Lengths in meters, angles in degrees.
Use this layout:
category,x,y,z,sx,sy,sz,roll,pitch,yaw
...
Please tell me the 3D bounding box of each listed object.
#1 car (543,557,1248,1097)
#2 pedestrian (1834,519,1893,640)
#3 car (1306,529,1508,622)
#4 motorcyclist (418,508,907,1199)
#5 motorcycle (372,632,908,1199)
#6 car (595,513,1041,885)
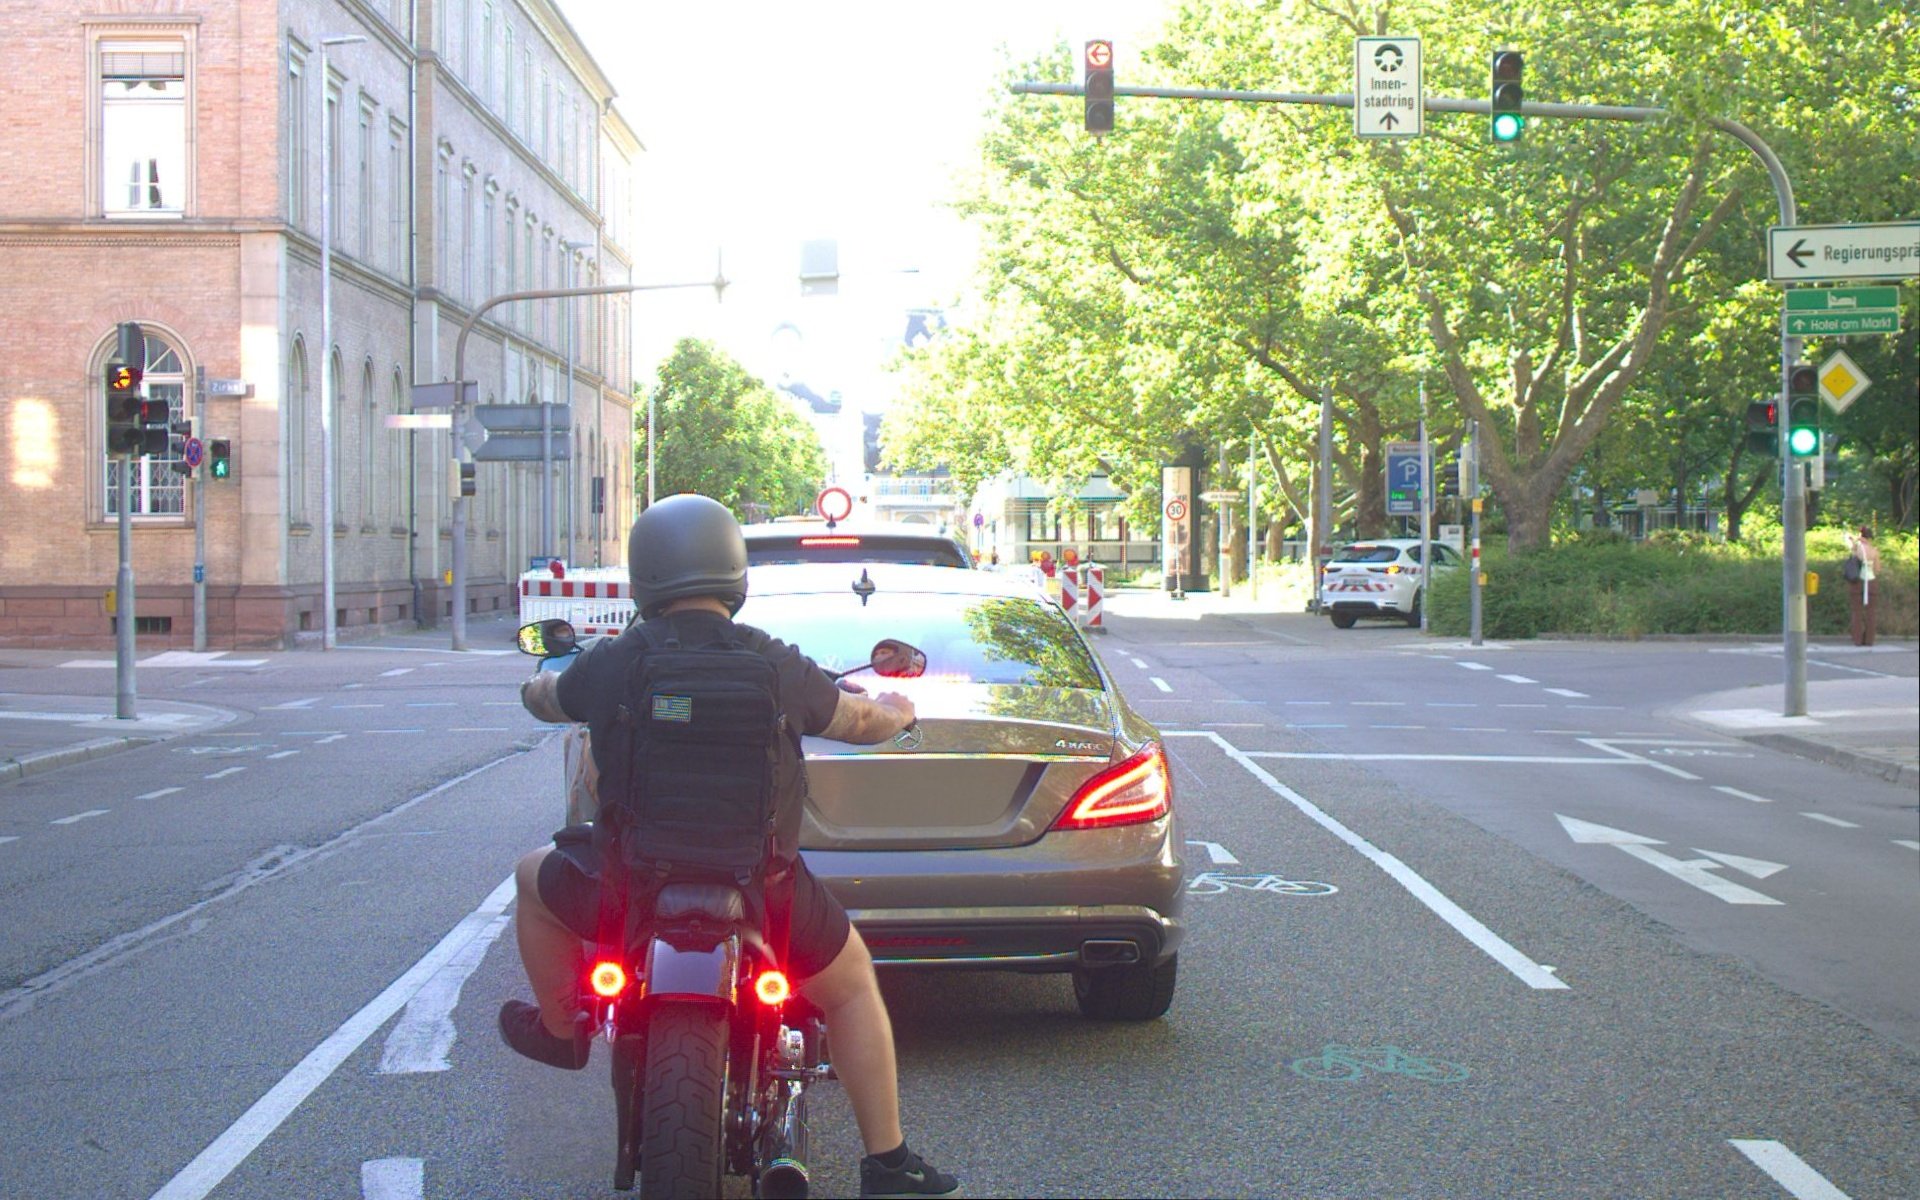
category,x,y,z,sx,sy,sz,roll,pitch,yaw
car,-0.430,0.586,11.633,1.869,1.439,4.431,0,1,-8
pedestrian,13.287,-0.306,50.542,0.678,1.766,0.616,1,0,29
car,8.713,-0.478,66.779,1.947,1.702,4.474,2,1,36
motorcyclist,-0.609,0.590,7.564,0.980,1.573,1.248,0,1,-1
motorcycle,-0.611,0.739,7.575,0.980,1.271,2.407,0,1,-1
car,-0.664,0.428,17.555,1.993,1.660,4.000,1,1,-1
